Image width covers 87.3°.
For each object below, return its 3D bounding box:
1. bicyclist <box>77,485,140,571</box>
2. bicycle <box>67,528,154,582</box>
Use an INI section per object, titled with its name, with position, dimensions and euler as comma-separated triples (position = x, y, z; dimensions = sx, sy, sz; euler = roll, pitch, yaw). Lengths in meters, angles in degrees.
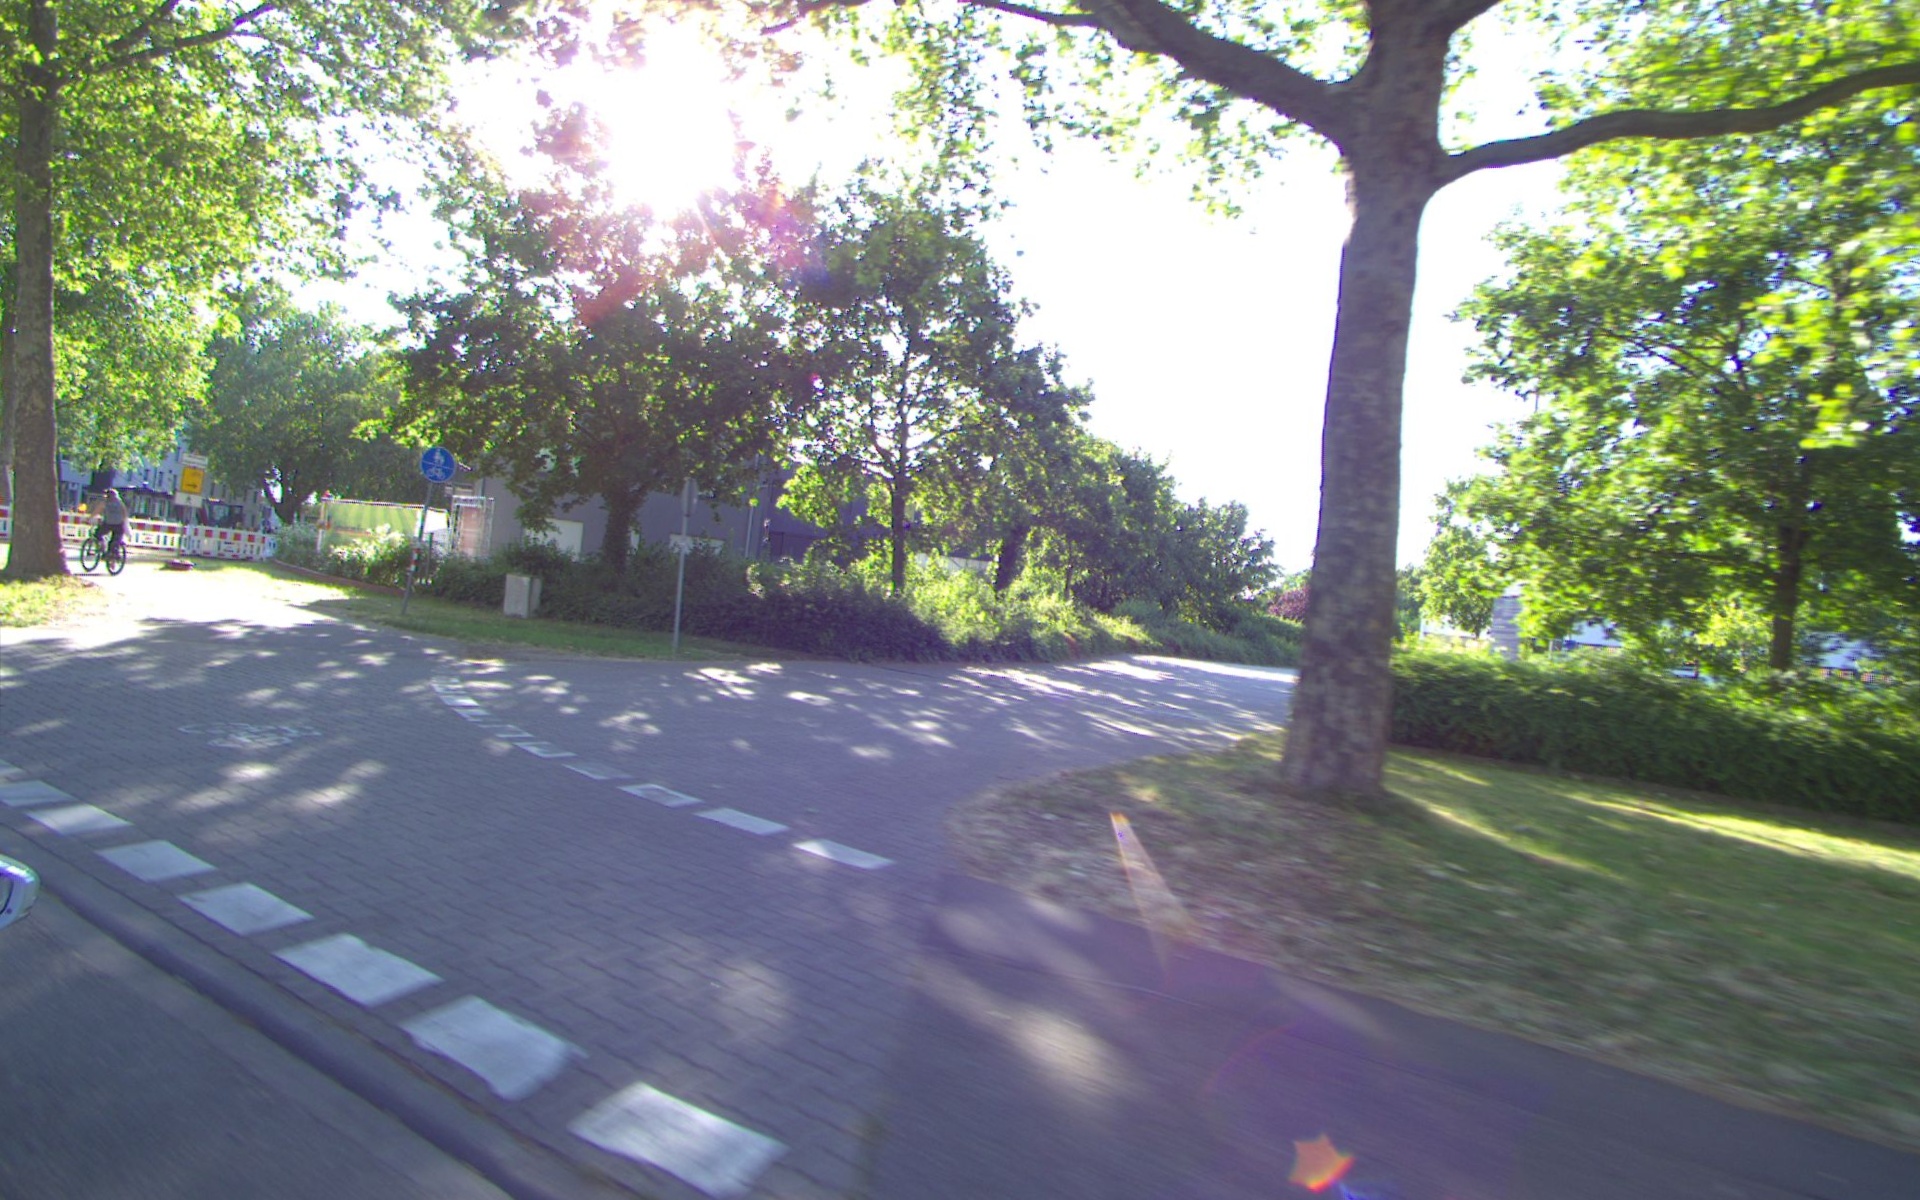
[bicyclist]
position = -18.389, -1.558, 21.721
dimensions = 0.857, 1.725, 0.652
euler = 7, -1, 32
[bicycle]
position = -18.261, -0.972, 21.612
dimensions = 2.138, 0.976, 0.770
euler = 6, 1, 31
